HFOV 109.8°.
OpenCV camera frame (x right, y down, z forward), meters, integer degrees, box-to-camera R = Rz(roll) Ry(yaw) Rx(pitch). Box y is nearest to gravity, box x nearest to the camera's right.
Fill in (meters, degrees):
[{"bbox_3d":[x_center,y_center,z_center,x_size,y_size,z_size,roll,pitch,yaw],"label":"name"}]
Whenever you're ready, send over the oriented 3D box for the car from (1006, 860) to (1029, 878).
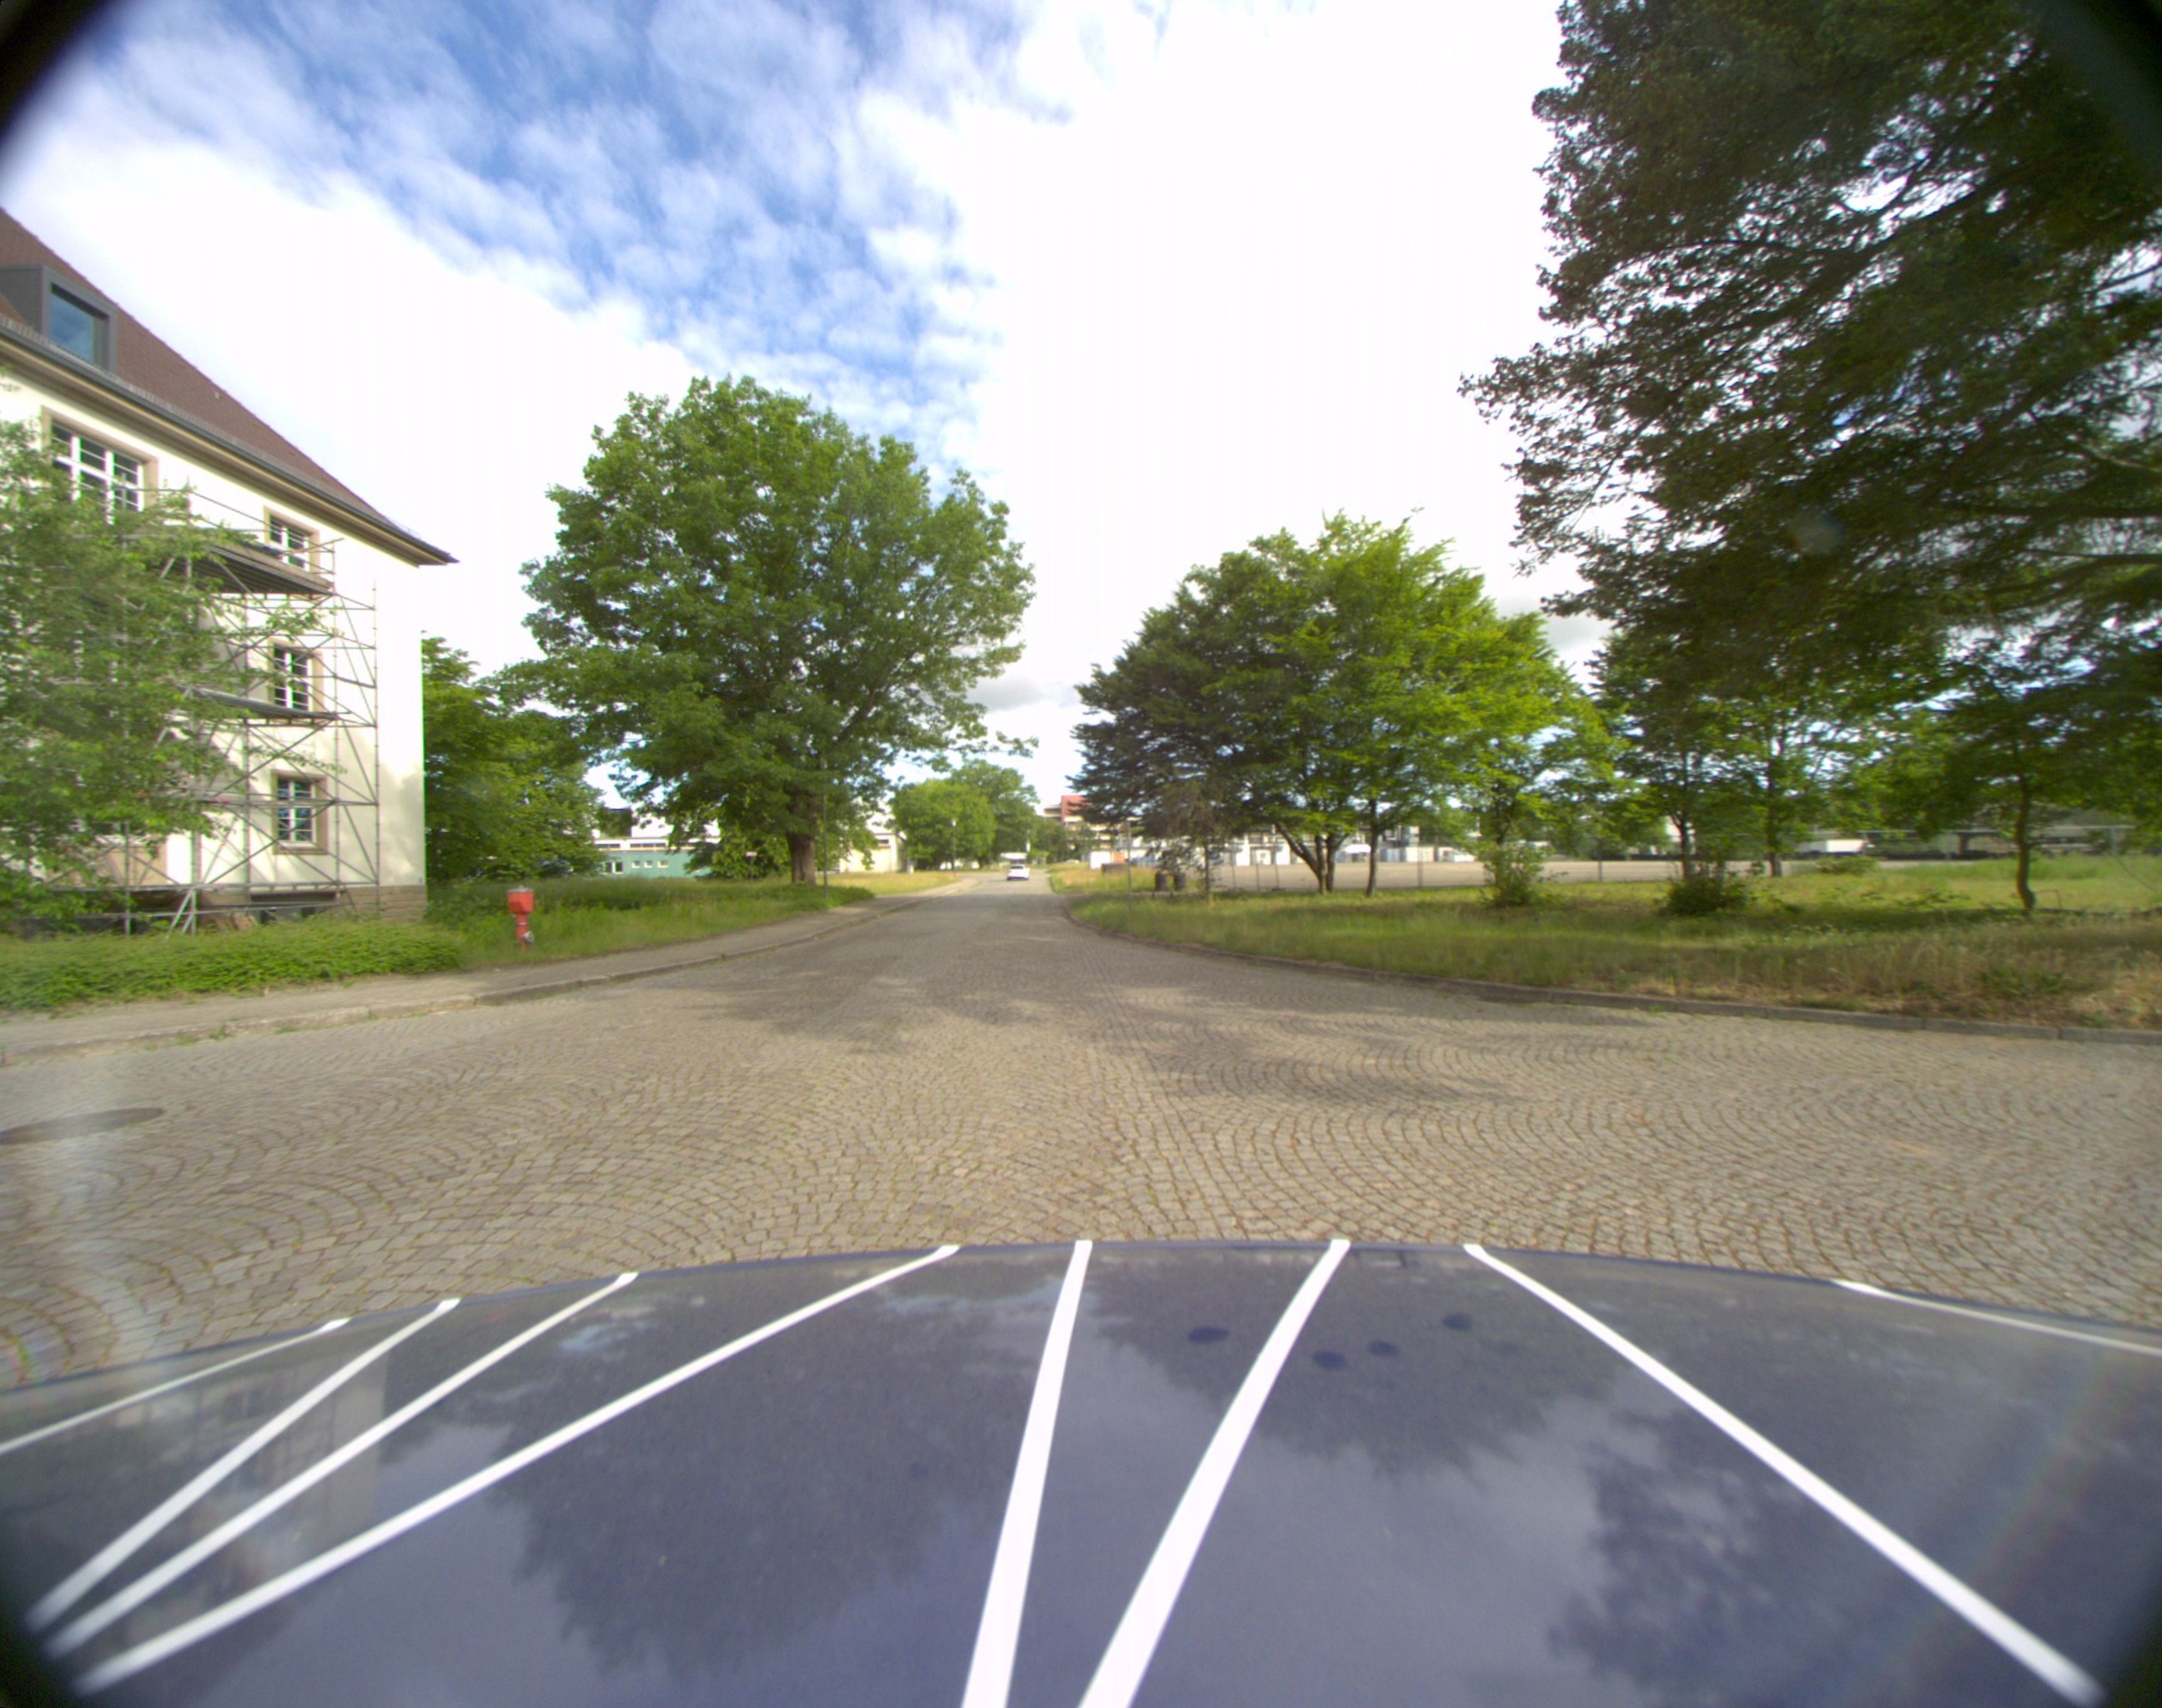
[{"bbox_3d":[-5.553,1.318,67.152,1.854,1.428,4.704,-2,0,-3],"label":"car"}]
